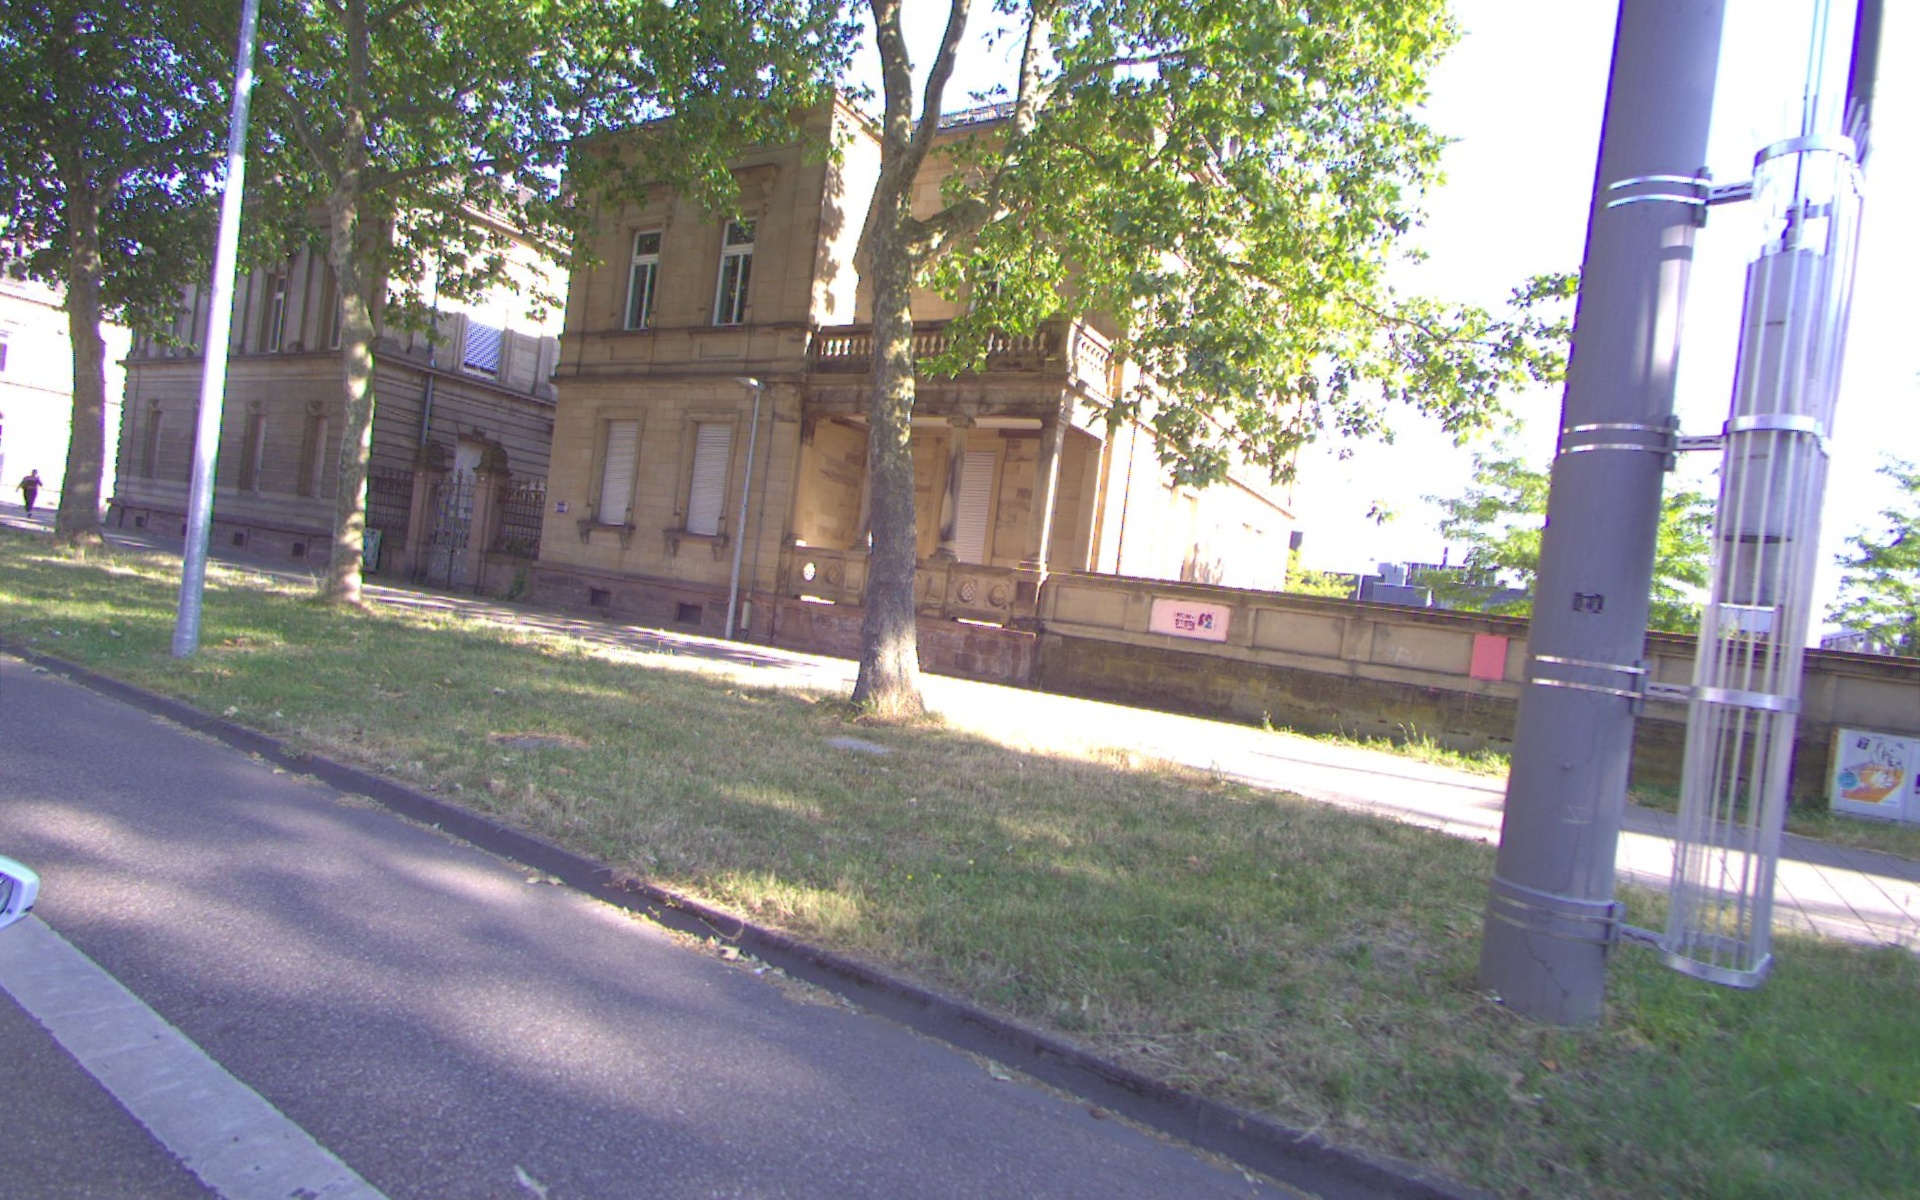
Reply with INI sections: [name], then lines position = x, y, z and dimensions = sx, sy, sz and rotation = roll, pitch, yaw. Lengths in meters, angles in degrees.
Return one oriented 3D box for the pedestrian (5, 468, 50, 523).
[pedestrian]
position = -30.465, -3.408, 32.878
dimensions = 0.970, 1.626, 0.770
rotation = 8, 2, 33
